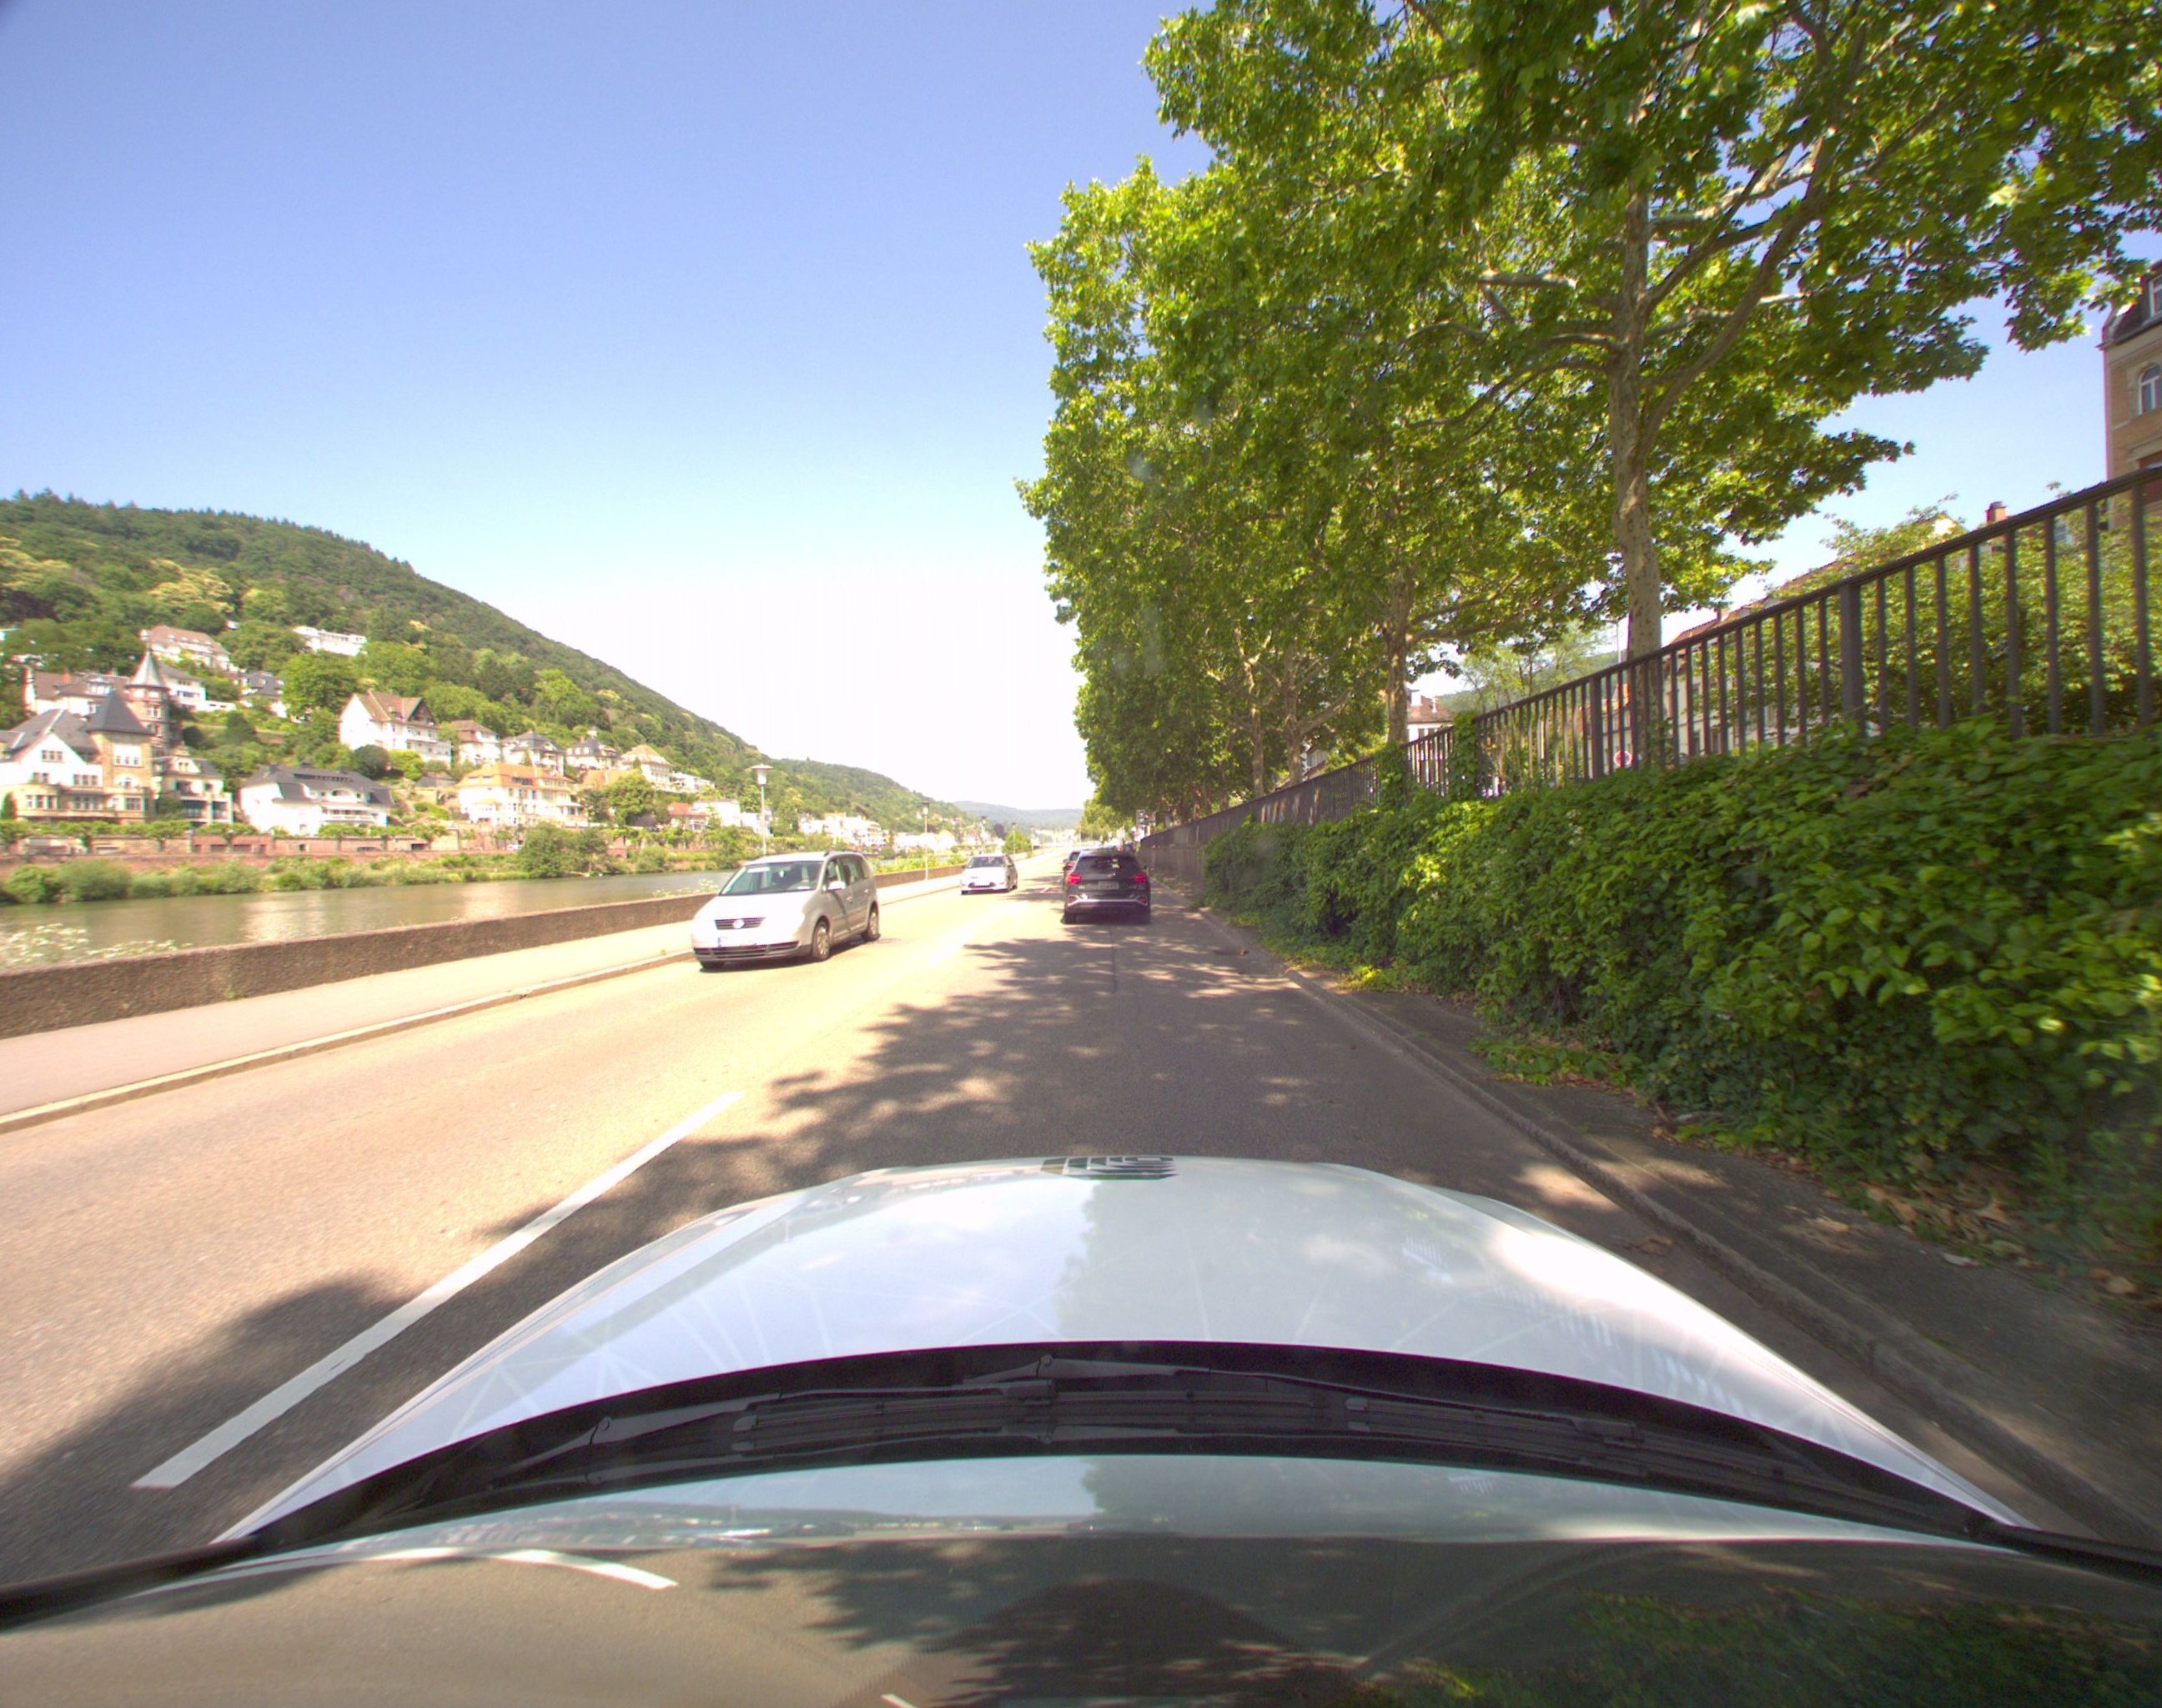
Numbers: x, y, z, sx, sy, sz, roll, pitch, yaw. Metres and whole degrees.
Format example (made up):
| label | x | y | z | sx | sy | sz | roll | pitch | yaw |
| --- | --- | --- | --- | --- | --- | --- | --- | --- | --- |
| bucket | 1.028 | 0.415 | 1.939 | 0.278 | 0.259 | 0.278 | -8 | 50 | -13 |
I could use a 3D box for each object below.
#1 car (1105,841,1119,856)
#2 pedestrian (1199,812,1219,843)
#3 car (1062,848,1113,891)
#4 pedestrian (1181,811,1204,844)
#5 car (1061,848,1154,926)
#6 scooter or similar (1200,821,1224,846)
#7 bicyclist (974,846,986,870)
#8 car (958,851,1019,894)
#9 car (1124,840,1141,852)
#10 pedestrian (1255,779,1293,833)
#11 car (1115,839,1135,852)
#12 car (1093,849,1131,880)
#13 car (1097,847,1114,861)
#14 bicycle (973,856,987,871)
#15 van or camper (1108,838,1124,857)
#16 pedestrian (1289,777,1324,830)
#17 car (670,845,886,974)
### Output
| label | x | y | z | sx | sy | sz | roll | pitch | yaw |
| --- | --- | --- | --- | --- | --- | --- | --- | --- | --- |
| car | 4.414 | -0.790 | 116.935 | 1.987 | 2.169 | 4.001 | -1 | 1 | 1 |
| pedestrian | 5.842 | -1.189 | 37.275 | 0.678 | 1.365 | 0.990 | -4 | 0 | 1 |
| car | 0.284 | 0.557 | 31.339 | 1.822 | 1.511 | 4.001 | 0 | 1 | 1 |
| pedestrian | 5.606 | -1.303 | 41.021 | 0.934 | 1.579 | 1.027 | -4 | 0 | -1 |
| car | 0.555 | 0.635 | 17.982 | 1.822 | 1.486 | 4.001 | 0 | 1 | 1 |
| scooter or similar | 5.843 | -0.895 | 36.312 | 0.852 | 1.026 | 1.107 | -4 | 0 | 1 |
| bicyclist | -7.172 | 0.262 | 57.921 | 0.635 | 1.673 | 0.871 | -1 | 0 | 1 |
| car | -3.418 | 0.652 | 30.820 | 1.725 | 1.442 | 4.046 | -3 | 0 | 1 |
| car | 9.376 | -1.429 | 148.459 | 2.652 | 2.013 | 5.825 | -4 | 0 | 1 |
| pedestrian | 5.248 | -1.288 | 22.180 | 0.751 | 1.365 | 0.814 | -4 | 0 | -1 |
| car | 7.444 | -1.400 | 137.524 | 3.088 | 2.013 | 5.825 | -4 | 0 | 1 |
| car | 1.537 | 0.489 | 41.231 | 1.822 | 1.486 | 4.001 | 0 | 1 | 1 |
| car | 2.595 | -0.030 | 87.877 | 1.822 | 1.444 | 4.001 | 0 | 1 | 1 |
| bicycle | -7.164 | 0.680 | 57.769 | 0.630 | 1.012 | 1.986 | -1 | 0 | 1 |
| van or camper | 5.385 | -0.993 | 125.960 | 2.300 | 2.847 | 4.249 | -1 | 0 | 3 |
| pedestrian | 6.167 | -1.376 | 22.303 | 0.641 | 1.365 | 0.794 | -4 | 0 | -1 |
| car | -4.556 | 0.727 | 12.971 | 1.725 | 1.650 | 4.178 | -3 | 0 | 1 |
